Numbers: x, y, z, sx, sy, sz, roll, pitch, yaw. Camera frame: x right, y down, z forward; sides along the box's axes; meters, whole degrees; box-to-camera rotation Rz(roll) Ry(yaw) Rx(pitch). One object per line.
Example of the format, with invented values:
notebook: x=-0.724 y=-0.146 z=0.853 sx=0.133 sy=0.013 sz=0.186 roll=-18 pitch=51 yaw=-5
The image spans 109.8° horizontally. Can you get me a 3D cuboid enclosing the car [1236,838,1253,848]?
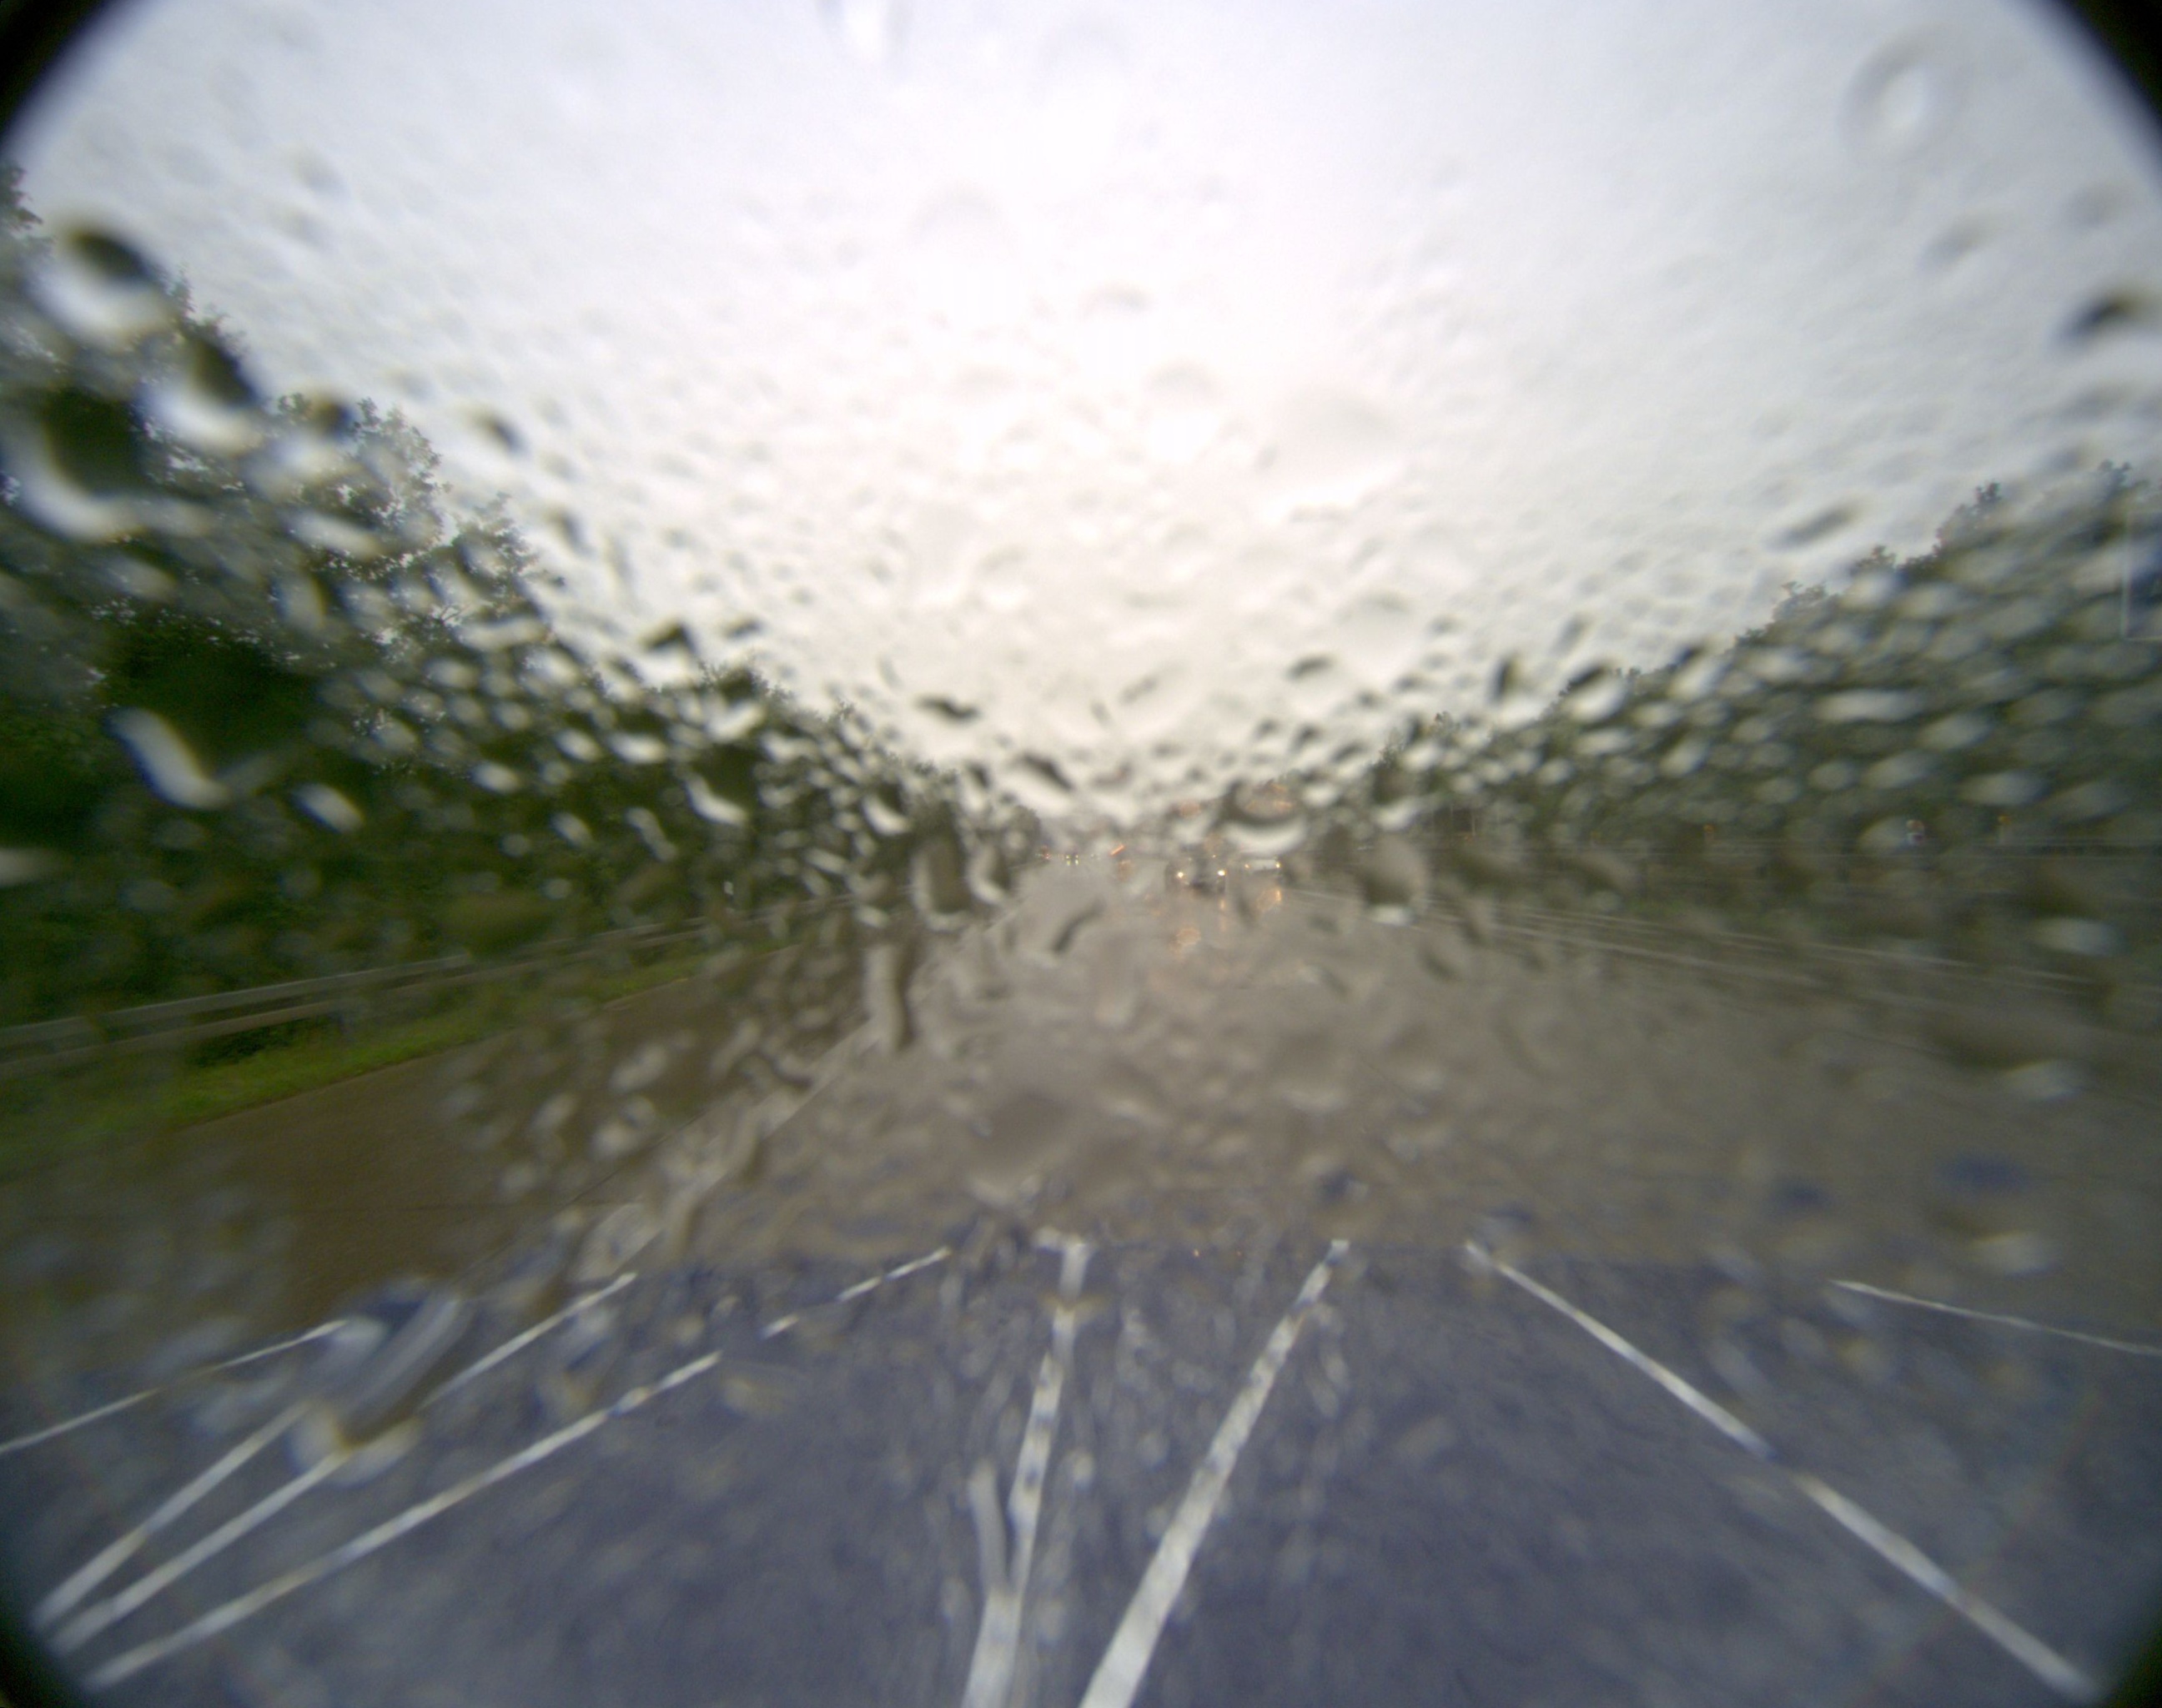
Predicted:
car: x=24.475 y=-1.588 z=113.859 sx=1.671 sy=1.426 sz=4.517 roll=-2 pitch=0 yaw=0

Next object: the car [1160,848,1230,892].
car: x=4.164 y=0.538 z=28.387 sx=1.934 sy=1.426 sz=4.517 roll=-2 pitch=1 yaw=0

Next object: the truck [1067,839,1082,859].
truck: x=-1.363 y=-1.086 z=174.279 sx=3.058 sy=3.994 sz=10.044 roll=-2 pitch=-2 yaw=1

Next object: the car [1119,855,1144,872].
car: x=4.577 y=0.869 z=69.352 sx=1.934 sy=1.426 sz=4.517 roll=-2 pitch=1 yaw=0

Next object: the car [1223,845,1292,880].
car: x=7.767 y=0.331 z=33.914 sx=1.934 sy=1.426 sz=4.517 roll=-2 pitch=1 yaw=-1

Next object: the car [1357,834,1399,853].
car: x=24.477 y=-0.825 z=62.810 sx=1.671 sy=1.426 sz=4.517 roll=-2 pitch=0 yaw=0

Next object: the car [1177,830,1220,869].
car: x=8.579 y=-0.340 z=55.930 sx=2.046 sy=2.616 sz=6.402 roll=-2 pitch=1 yaw=-1
